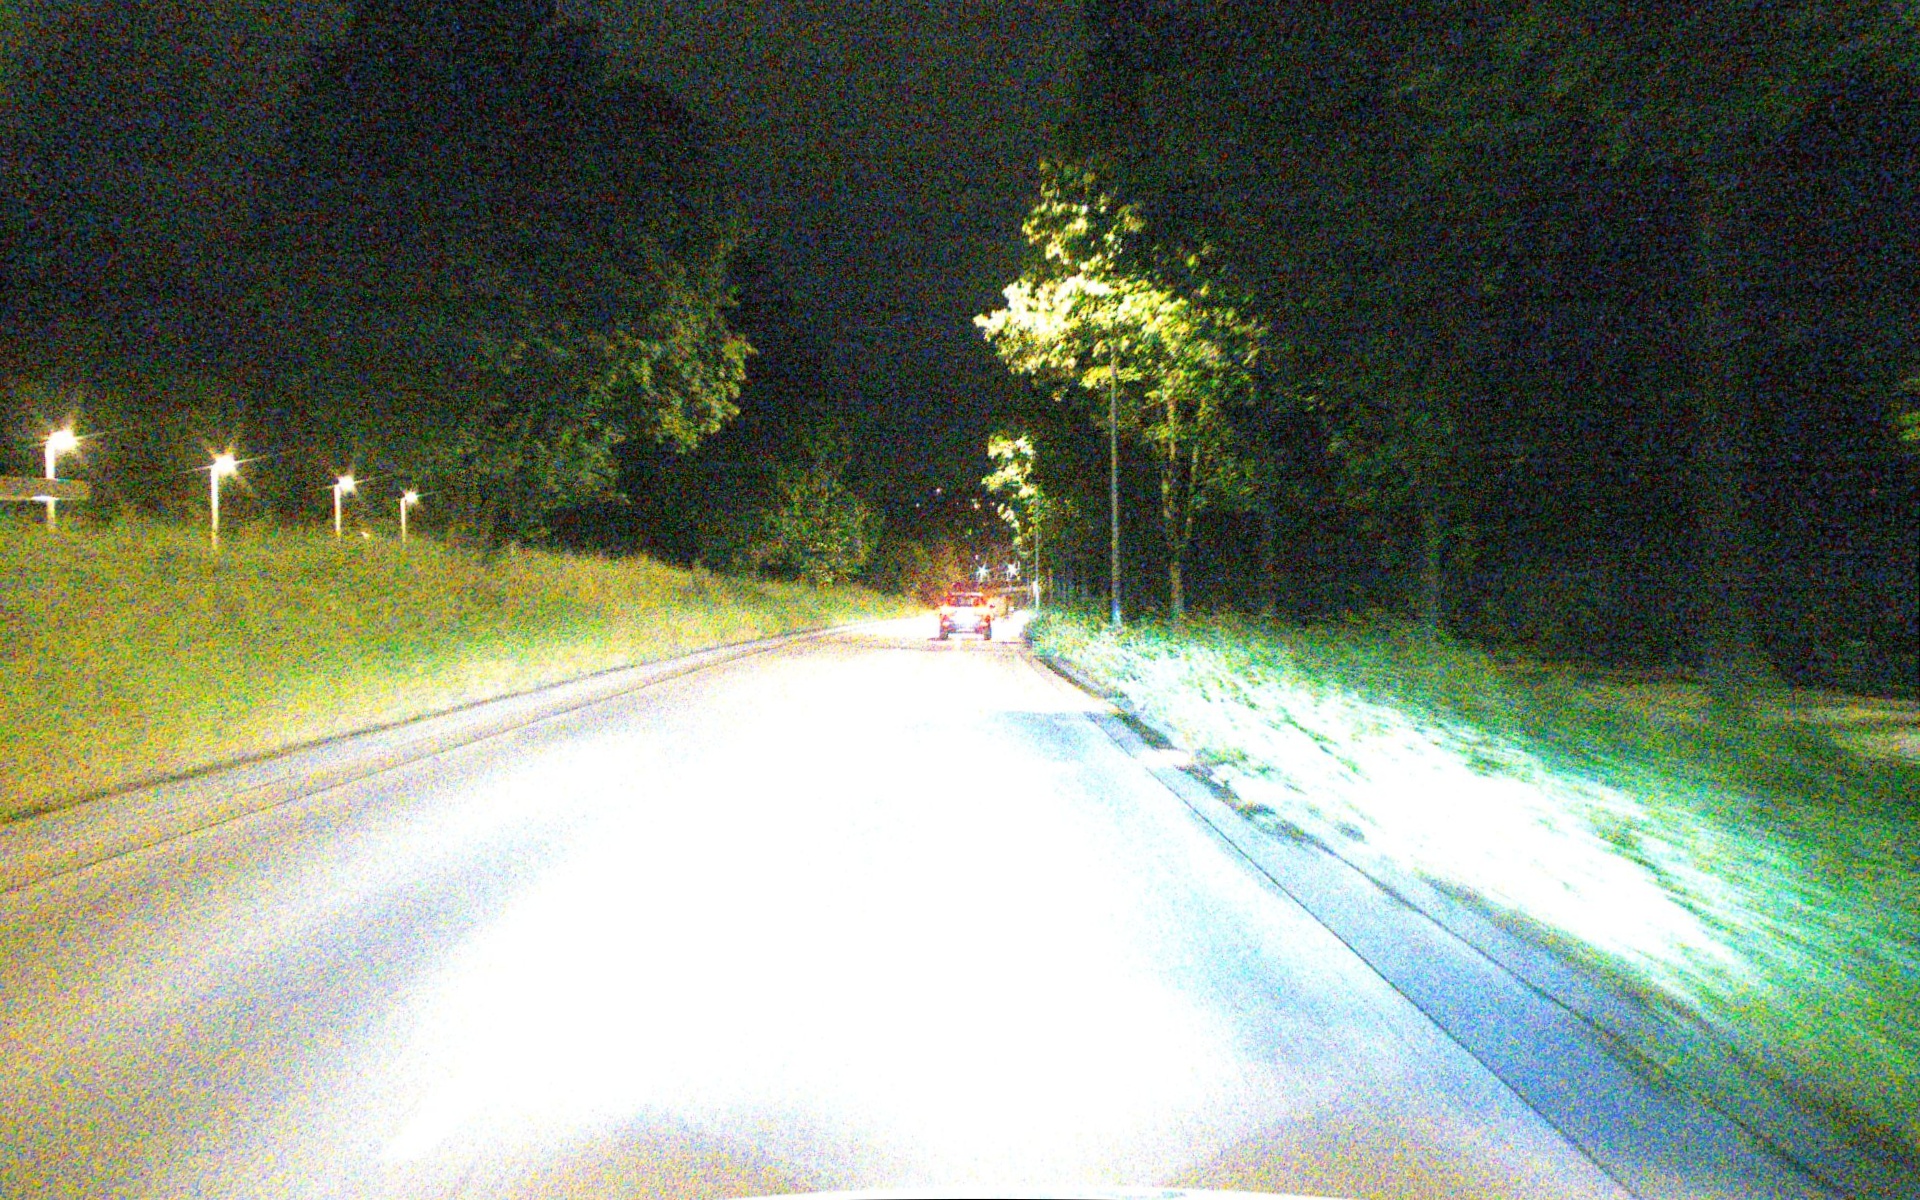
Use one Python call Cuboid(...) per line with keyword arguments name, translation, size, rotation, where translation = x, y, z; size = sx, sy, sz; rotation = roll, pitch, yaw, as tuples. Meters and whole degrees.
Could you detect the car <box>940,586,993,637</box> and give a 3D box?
Cuboid(name="car", translation=(0.187, 0.386, 57.421), size=(1.727, 1.670, 3.721), rotation=(1, 0, -1))
